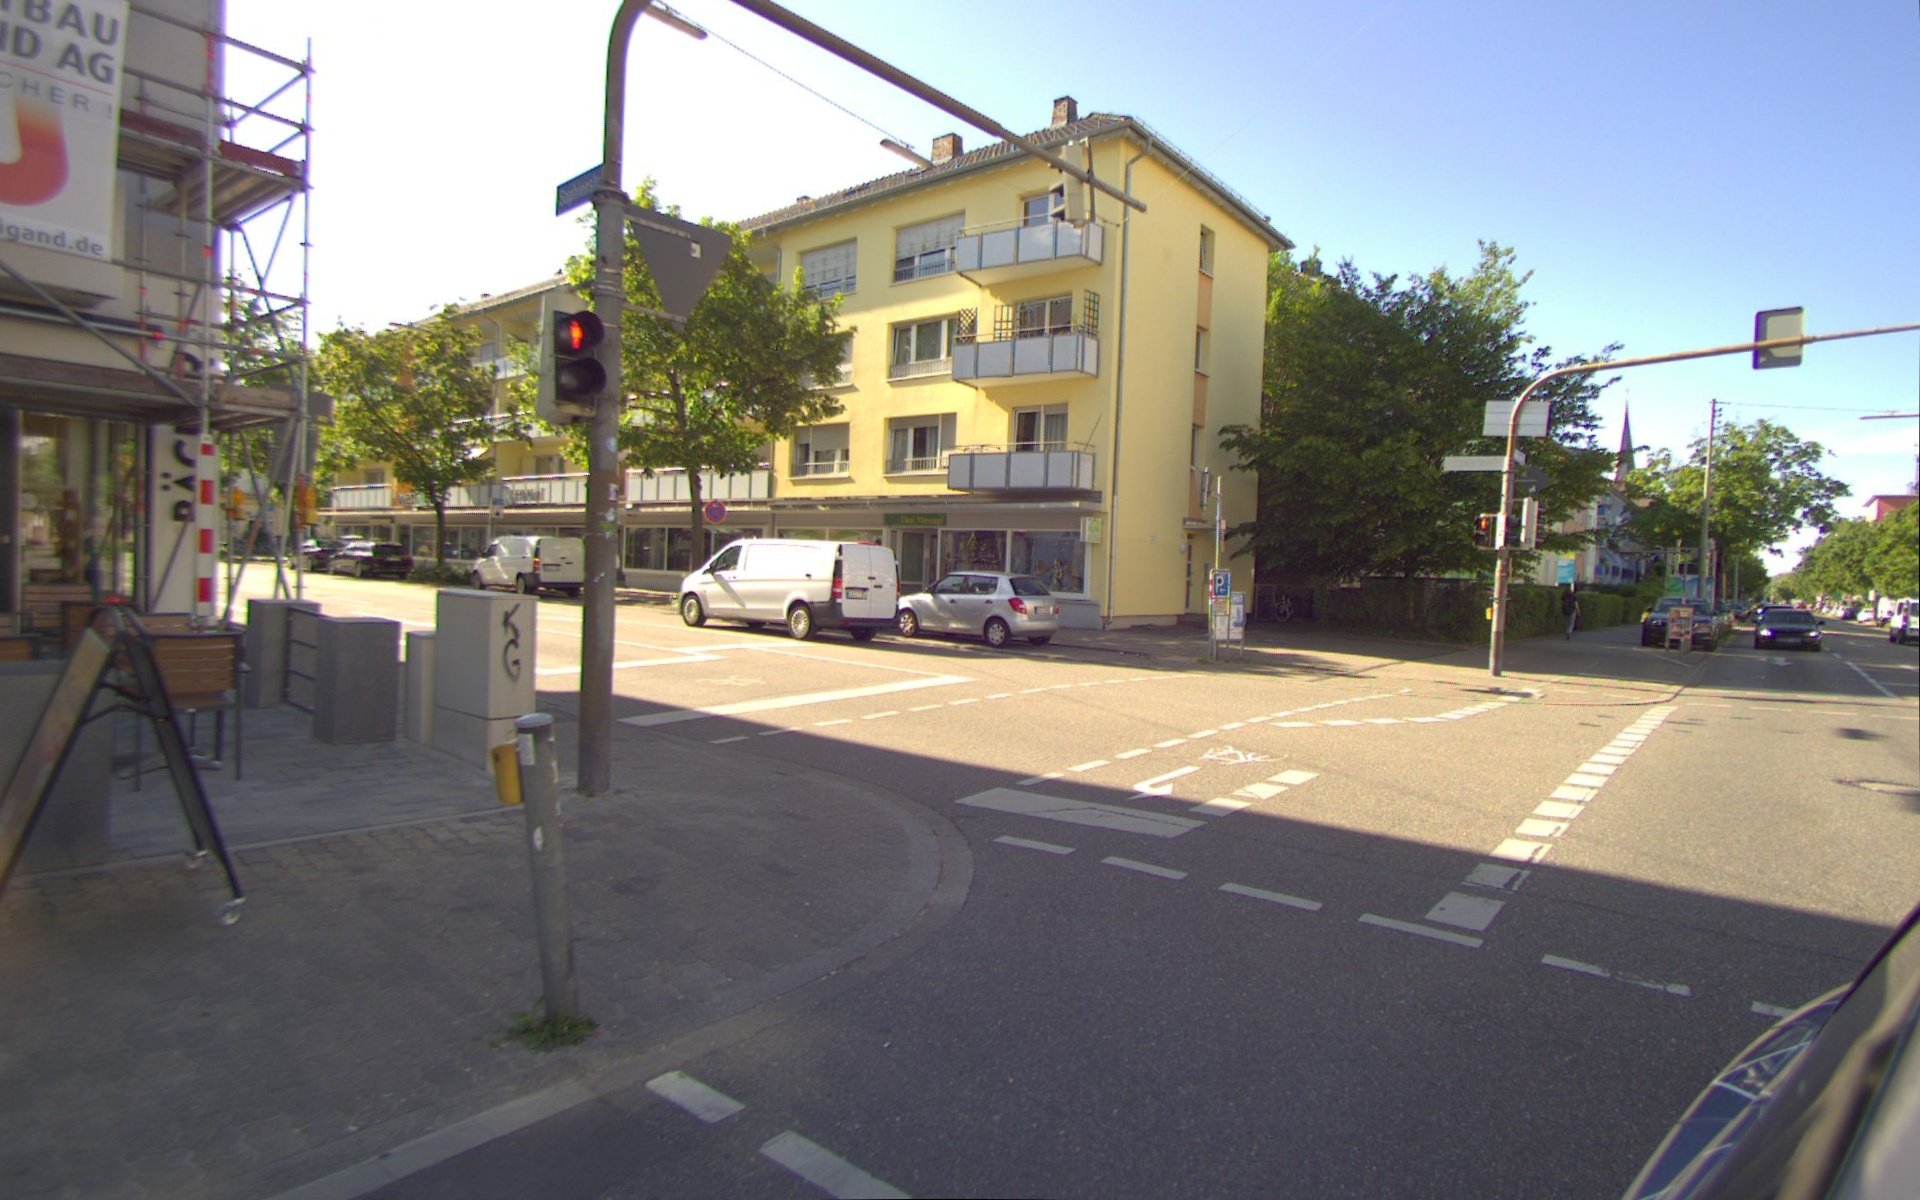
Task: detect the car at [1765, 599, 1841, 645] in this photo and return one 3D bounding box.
[{"bbox_3d":[28.501,0.704,34.297,1.861,1.393,3.943,2,1,39],"label":"car"}]

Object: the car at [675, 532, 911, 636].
[{"bbox_3d":[-3.454,-0.384,20.407,4.809,1.832,1.947,4,2,38],"label":"car"}]

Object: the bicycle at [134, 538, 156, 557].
[{"bbox_3d":[-40.835,-2.643,50.686,1.869,0.876,0.540,4,2,41],"label":"bicycle"}]

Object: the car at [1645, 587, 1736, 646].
[{"bbox_3d":[22.613,0.452,31.261,1.991,1.593,3.943,4,3,39],"label":"car"}]

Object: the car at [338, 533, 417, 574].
[{"bbox_3d":[-23.335,-1.866,40.518,3.366,1.501,1.693,4,3,40],"label":"car"}]

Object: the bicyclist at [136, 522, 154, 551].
[{"bbox_3d":[-40.822,-3.179,50.679,0.819,1.399,0.540,4,2,41],"label":"bicyclist"}]

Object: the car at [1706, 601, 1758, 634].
[{"bbox_3d":[35.098,0.763,45.986,1.679,1.353,3.471,4,3,40],"label":"car"}]

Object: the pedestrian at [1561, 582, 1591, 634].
[{"bbox_3d":[19.927,0.253,32.722,0.562,1.605,0.645,1,2,-44],"label":"pedestrian"}]

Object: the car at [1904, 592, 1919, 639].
[{"bbox_3d":[42.002,0.743,43.301,1.966,1.964,4.981,3,1,40],"label":"car"}]

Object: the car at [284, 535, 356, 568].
[{"bbox_3d":[-27.895,-2.120,44.107,3.366,1.330,1.693,4,3,40],"label":"car"}]

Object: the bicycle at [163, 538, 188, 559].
[{"bbox_3d":[-36.033,-2.358,46.455,1.869,0.876,0.540,4,2,41],"label":"bicycle"}]

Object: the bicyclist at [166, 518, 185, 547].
[{"bbox_3d":[-36.021,-3.086,46.456,0.799,1.277,0.540,4,2,41],"label":"bicyclist"}]

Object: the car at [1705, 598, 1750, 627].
[{"bbox_3d":[39.766,0.612,52.411,1.678,1.353,3.472,4,3,40],"label":"car"}]

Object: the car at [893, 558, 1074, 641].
[{"bbox_3d":[0.455,-0.057,21.208,3.465,1.501,1.693,4,3,40],"label":"car"}]

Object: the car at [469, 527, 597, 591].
[{"bbox_3d":[-13.858,-1.338,32.709,4.567,1.869,2.022,4,3,42],"label":"car"}]

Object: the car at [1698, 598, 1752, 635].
[{"bbox_3d":[32.797,0.679,43.345,1.678,1.429,3.472,4,3,39],"label":"car"}]
